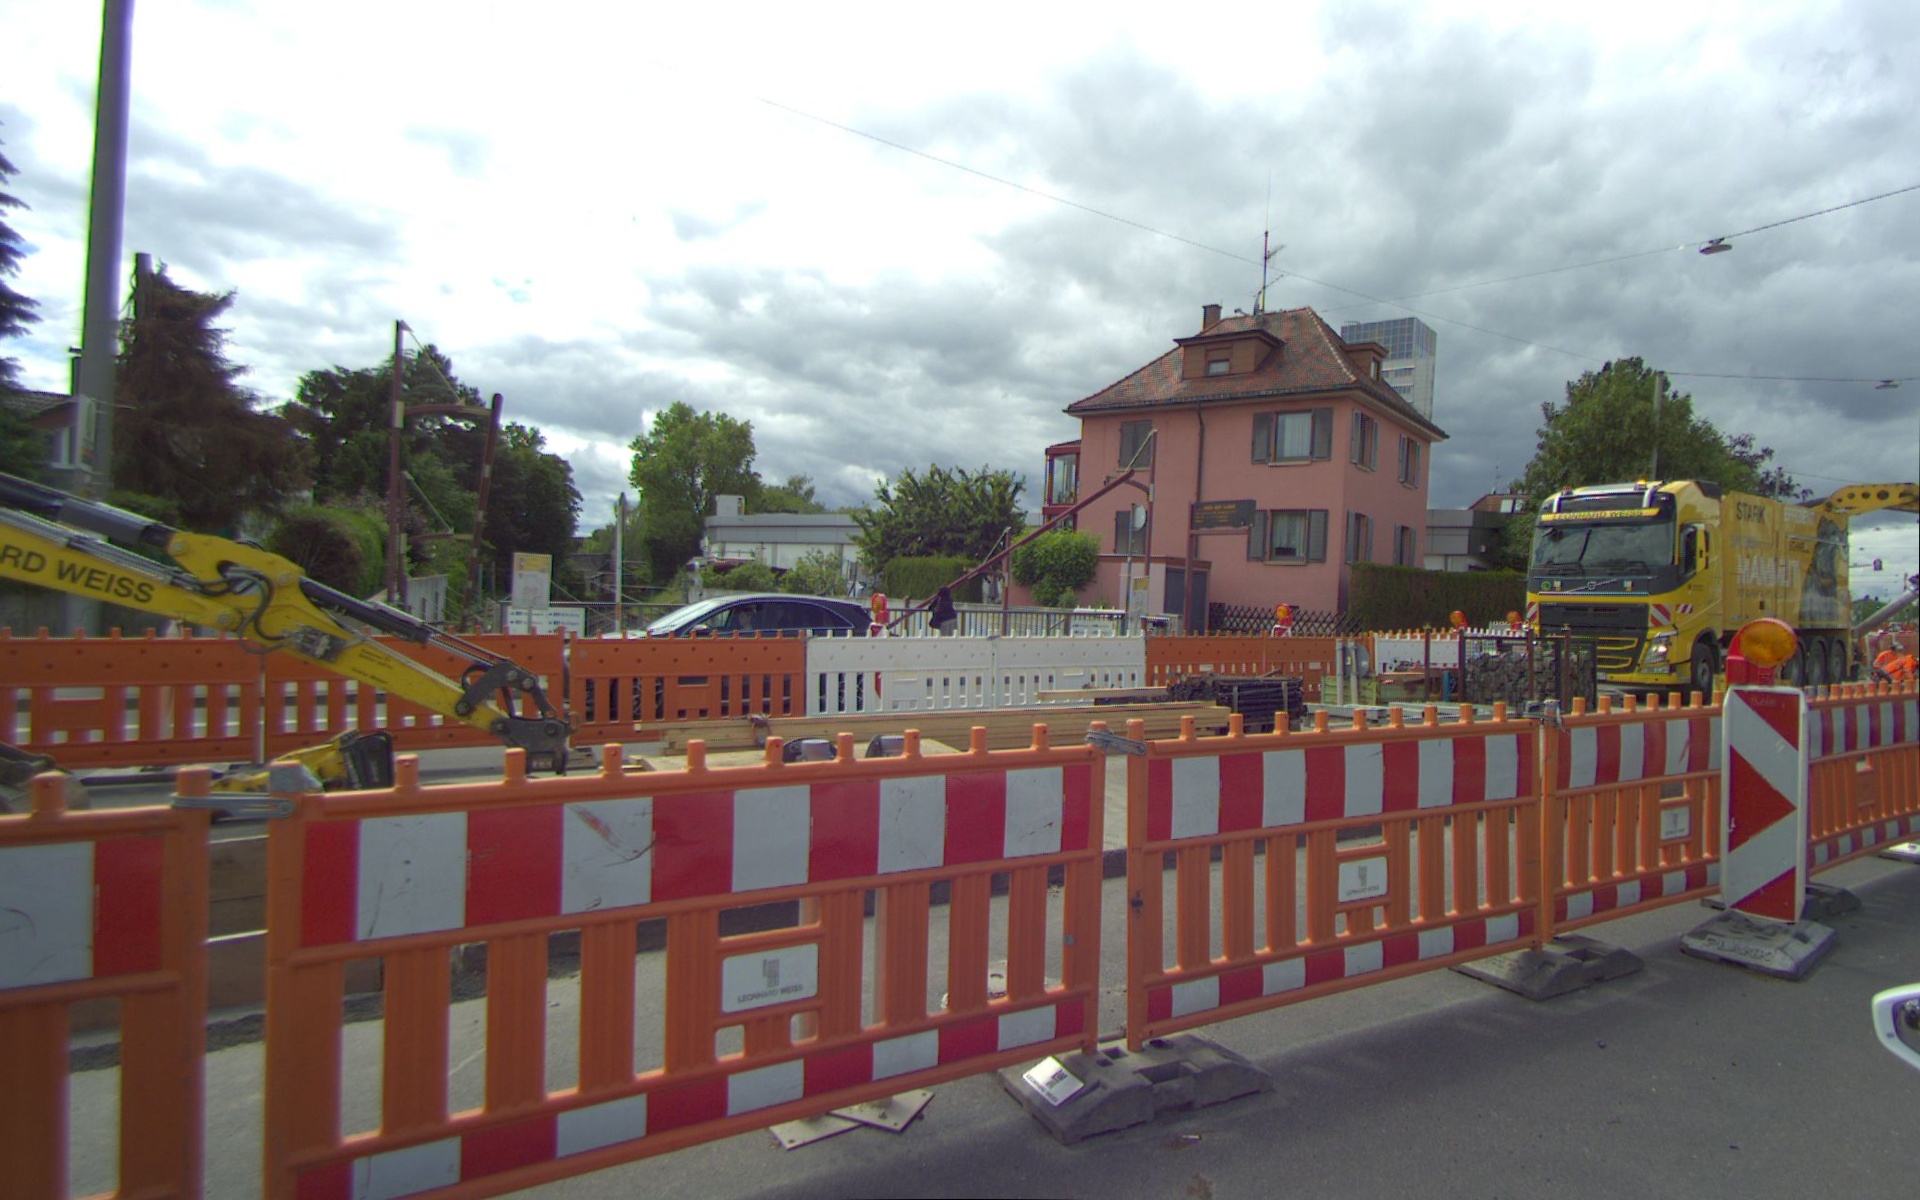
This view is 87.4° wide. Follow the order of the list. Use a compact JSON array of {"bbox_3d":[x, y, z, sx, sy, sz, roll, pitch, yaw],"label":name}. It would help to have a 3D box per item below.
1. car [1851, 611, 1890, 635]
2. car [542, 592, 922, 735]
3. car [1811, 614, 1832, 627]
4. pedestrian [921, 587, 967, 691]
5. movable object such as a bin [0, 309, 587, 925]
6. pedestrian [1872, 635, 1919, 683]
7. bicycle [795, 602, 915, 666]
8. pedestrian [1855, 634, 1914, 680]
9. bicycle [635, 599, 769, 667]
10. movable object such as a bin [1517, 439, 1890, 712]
[{"bbox_3d":[60.747,1.518,67.026,1.834,1.472,3.977,4,2,43],"label":"car"},{"bbox_3d":[-2.854,0.729,12.775,4.386,1.533,1.846,1,0,-29],"label":"car"},{"bbox_3d":[114.552,2.740,133.534,1.835,1.533,3.975,2,1,45],"label":"car"},{"bbox_3d":[-0.312,0.721,18.984,0.578,1.912,0.676,1,1,-30],"label":"pedestrian"},{"bbox_3d":[-5.305,0.048,4.964,6.425,2.661,1.990,1,0,-21],"label":"movable object such as a bin"},{"bbox_3d":[20.784,1.290,22.099,0.800,1.004,0.789,1,1,-21],"label":"pedestrian"},{"bbox_3d":[-1.893,0.608,18.190,2.105,1.097,0.536,1,0,-28],"label":"bicycle"},{"bbox_3d":[21.119,1.289,22.955,0.779,1.004,0.641,1,1,-11],"label":"pedestrian"},{"bbox_3d":[-4.326,0.553,16.897,2.105,1.097,0.536,1,0,-28],"label":"bicycle"},{"bbox_3d":[15.195,-0.308,20.005,11.009,4.278,2.574,1,0,-35],"label":"movable object such as a bin"}]
